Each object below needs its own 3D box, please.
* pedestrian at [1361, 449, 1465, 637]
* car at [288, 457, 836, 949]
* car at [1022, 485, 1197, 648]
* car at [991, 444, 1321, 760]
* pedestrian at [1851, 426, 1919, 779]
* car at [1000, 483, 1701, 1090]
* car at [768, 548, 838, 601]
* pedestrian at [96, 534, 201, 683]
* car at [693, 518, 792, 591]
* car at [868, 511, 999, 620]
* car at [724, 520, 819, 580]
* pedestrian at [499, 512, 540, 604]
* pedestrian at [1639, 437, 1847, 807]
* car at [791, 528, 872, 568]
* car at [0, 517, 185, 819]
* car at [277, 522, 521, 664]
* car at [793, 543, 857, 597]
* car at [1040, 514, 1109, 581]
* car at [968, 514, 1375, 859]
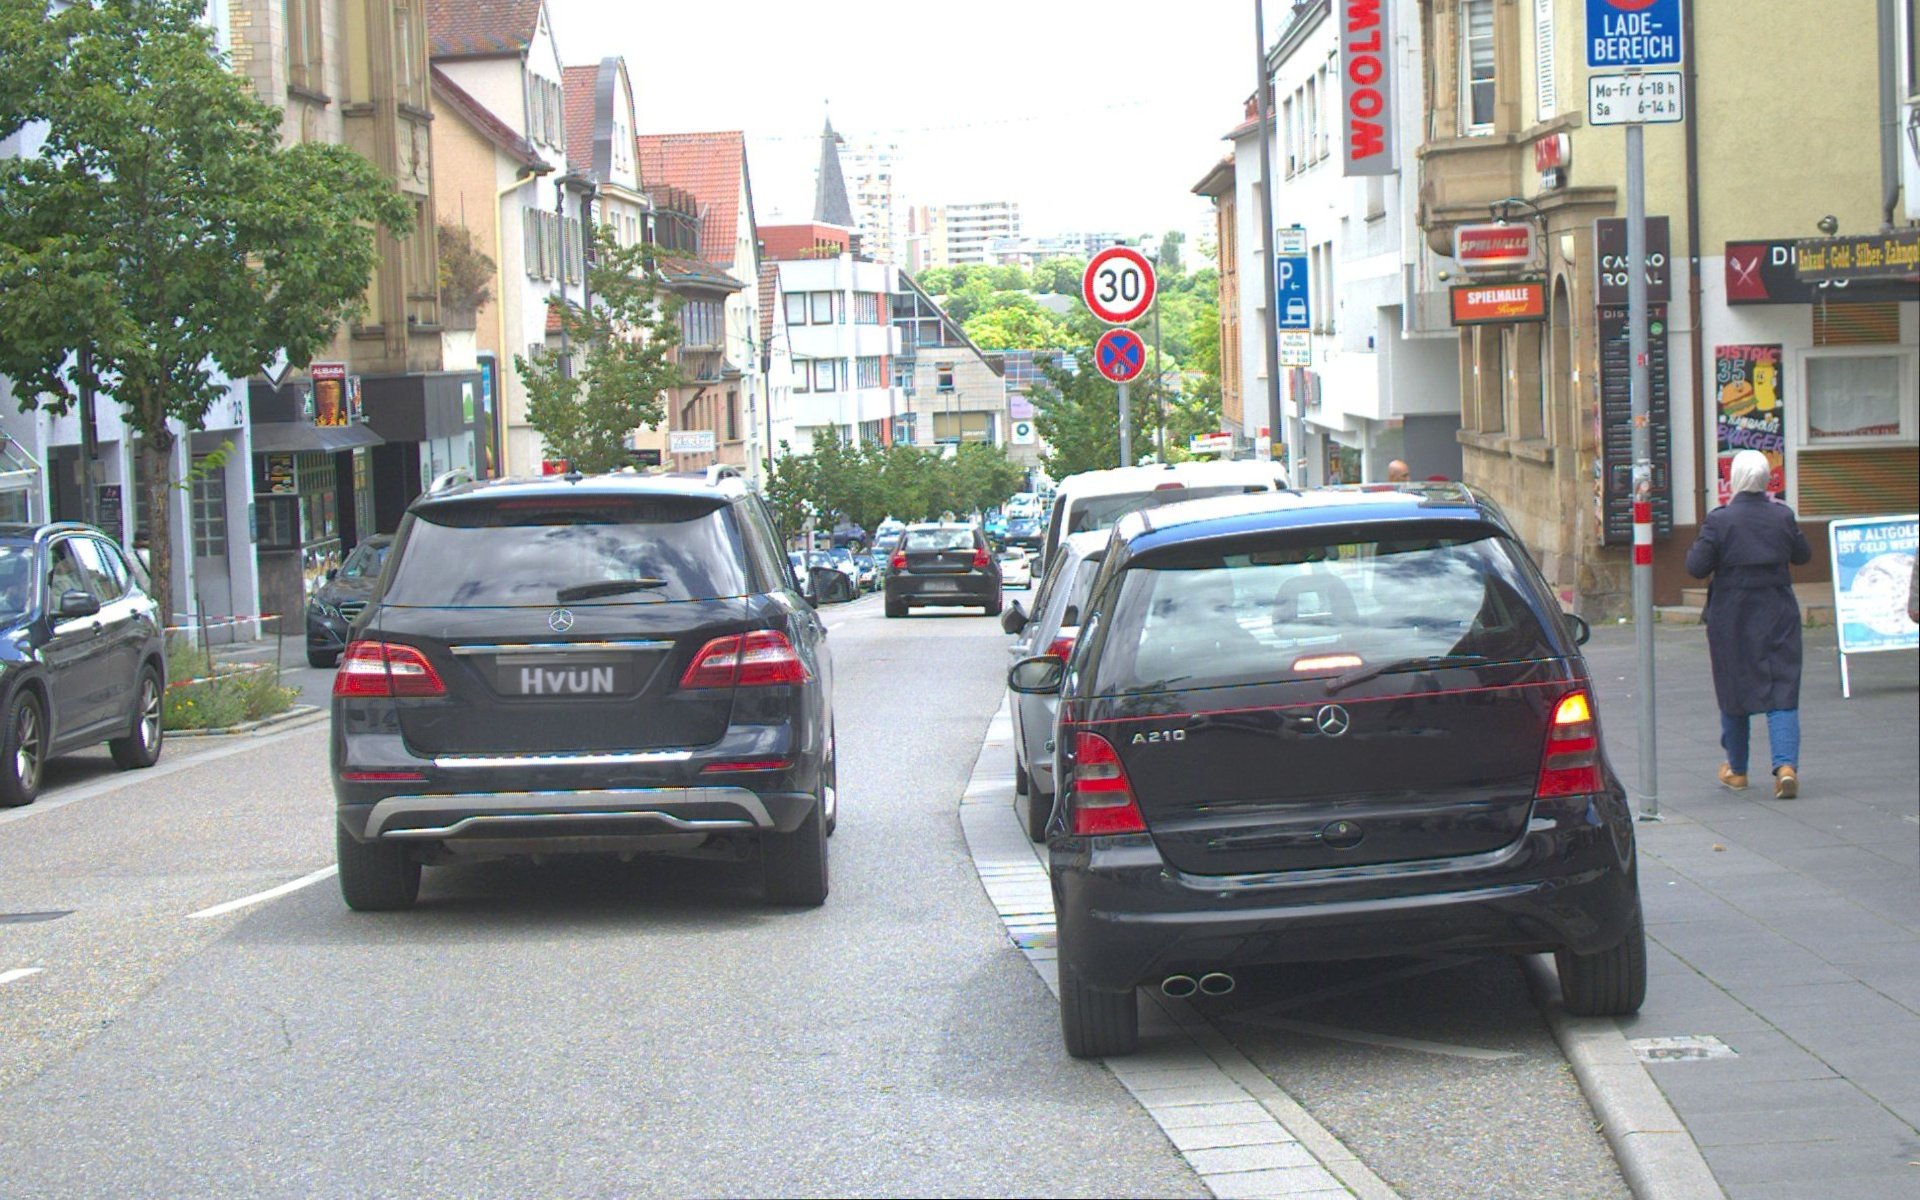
[{"bbox_3d":[4.284,-0.544,32.585,0.796,1.721,1.053,-3,1,2],"label":"pedestrian"},{"bbox_3d":[-1.562,0.332,14.720,1.943,1.734,4.179,-2,1,-3],"label":"car"},{"bbox_3d":[1.661,-0.400,38.195,1.748,1.602,3.800,-4,1,3],"label":"car"},{"bbox_3d":[1.365,-0.056,22.551,1.877,1.793,4.731,-2,2,5],"label":"car"},{"bbox_3d":[4.954,-0.013,17.061,0.864,1.701,0.944,-2,1,8],"label":"pedestrian"},{"bbox_3d":[1.124,0.449,11.185,1.803,1.550,3.954,-3,1,2],"label":"car"},{"bbox_3d":[-4.572,-0.763,100.483,1.926,1.491,4.262,0,1,-1],"label":"car"},{"bbox_3d":[-8.054,0.075,34.151,0.826,1.458,0.810,0,1,1],"label":"pedestrian"},{"bbox_3d":[-4.975,-1.041,79.167,1.926,1.616,4.639,-1,1,1],"label":"car"},{"bbox_3d":[-0.372,-0.553,52.319,1.785,1.535,3.744,-2,1,2],"label":"car"},{"bbox_3d":[-4.735,-1.265,86.929,1.927,1.425,4.262,-1,1,3],"label":"car"},{"bbox_3d":[-6.996,-0.669,54.617,0.491,1.458,0.559,0,1,11],"label":"pedestrian"},{"bbox_3d":[3.650,0.093,16.092,0.824,1.660,0.802,-2,1,8],"label":"pedestrian"},{"bbox_3d":[-6.582,-2.673,175.729,3.987,1.744,2.000,-4,1,-2],"label":"car"},{"bbox_3d":[-6.539,0.363,21.942,2.006,1.687,4.607,-1,2,1],"label":"car"},{"bbox_3d":[-6.292,-0.130,39.079,1.926,1.487,4.843,0,1,1],"label":"car"},{"bbox_3d":[-4.215,-0.954,107.862,1.926,1.590,4.458,0,1,-1],"label":"car"},{"bbox_3d":[3.504,-1.644,106.214,1.938,1.885,4.707,-4,1,1],"label":"car"},{"bbox_3d":[0.957,0.337,17.436,1.703,1.462,4.000,-3,1,-1],"label":"car"}]
